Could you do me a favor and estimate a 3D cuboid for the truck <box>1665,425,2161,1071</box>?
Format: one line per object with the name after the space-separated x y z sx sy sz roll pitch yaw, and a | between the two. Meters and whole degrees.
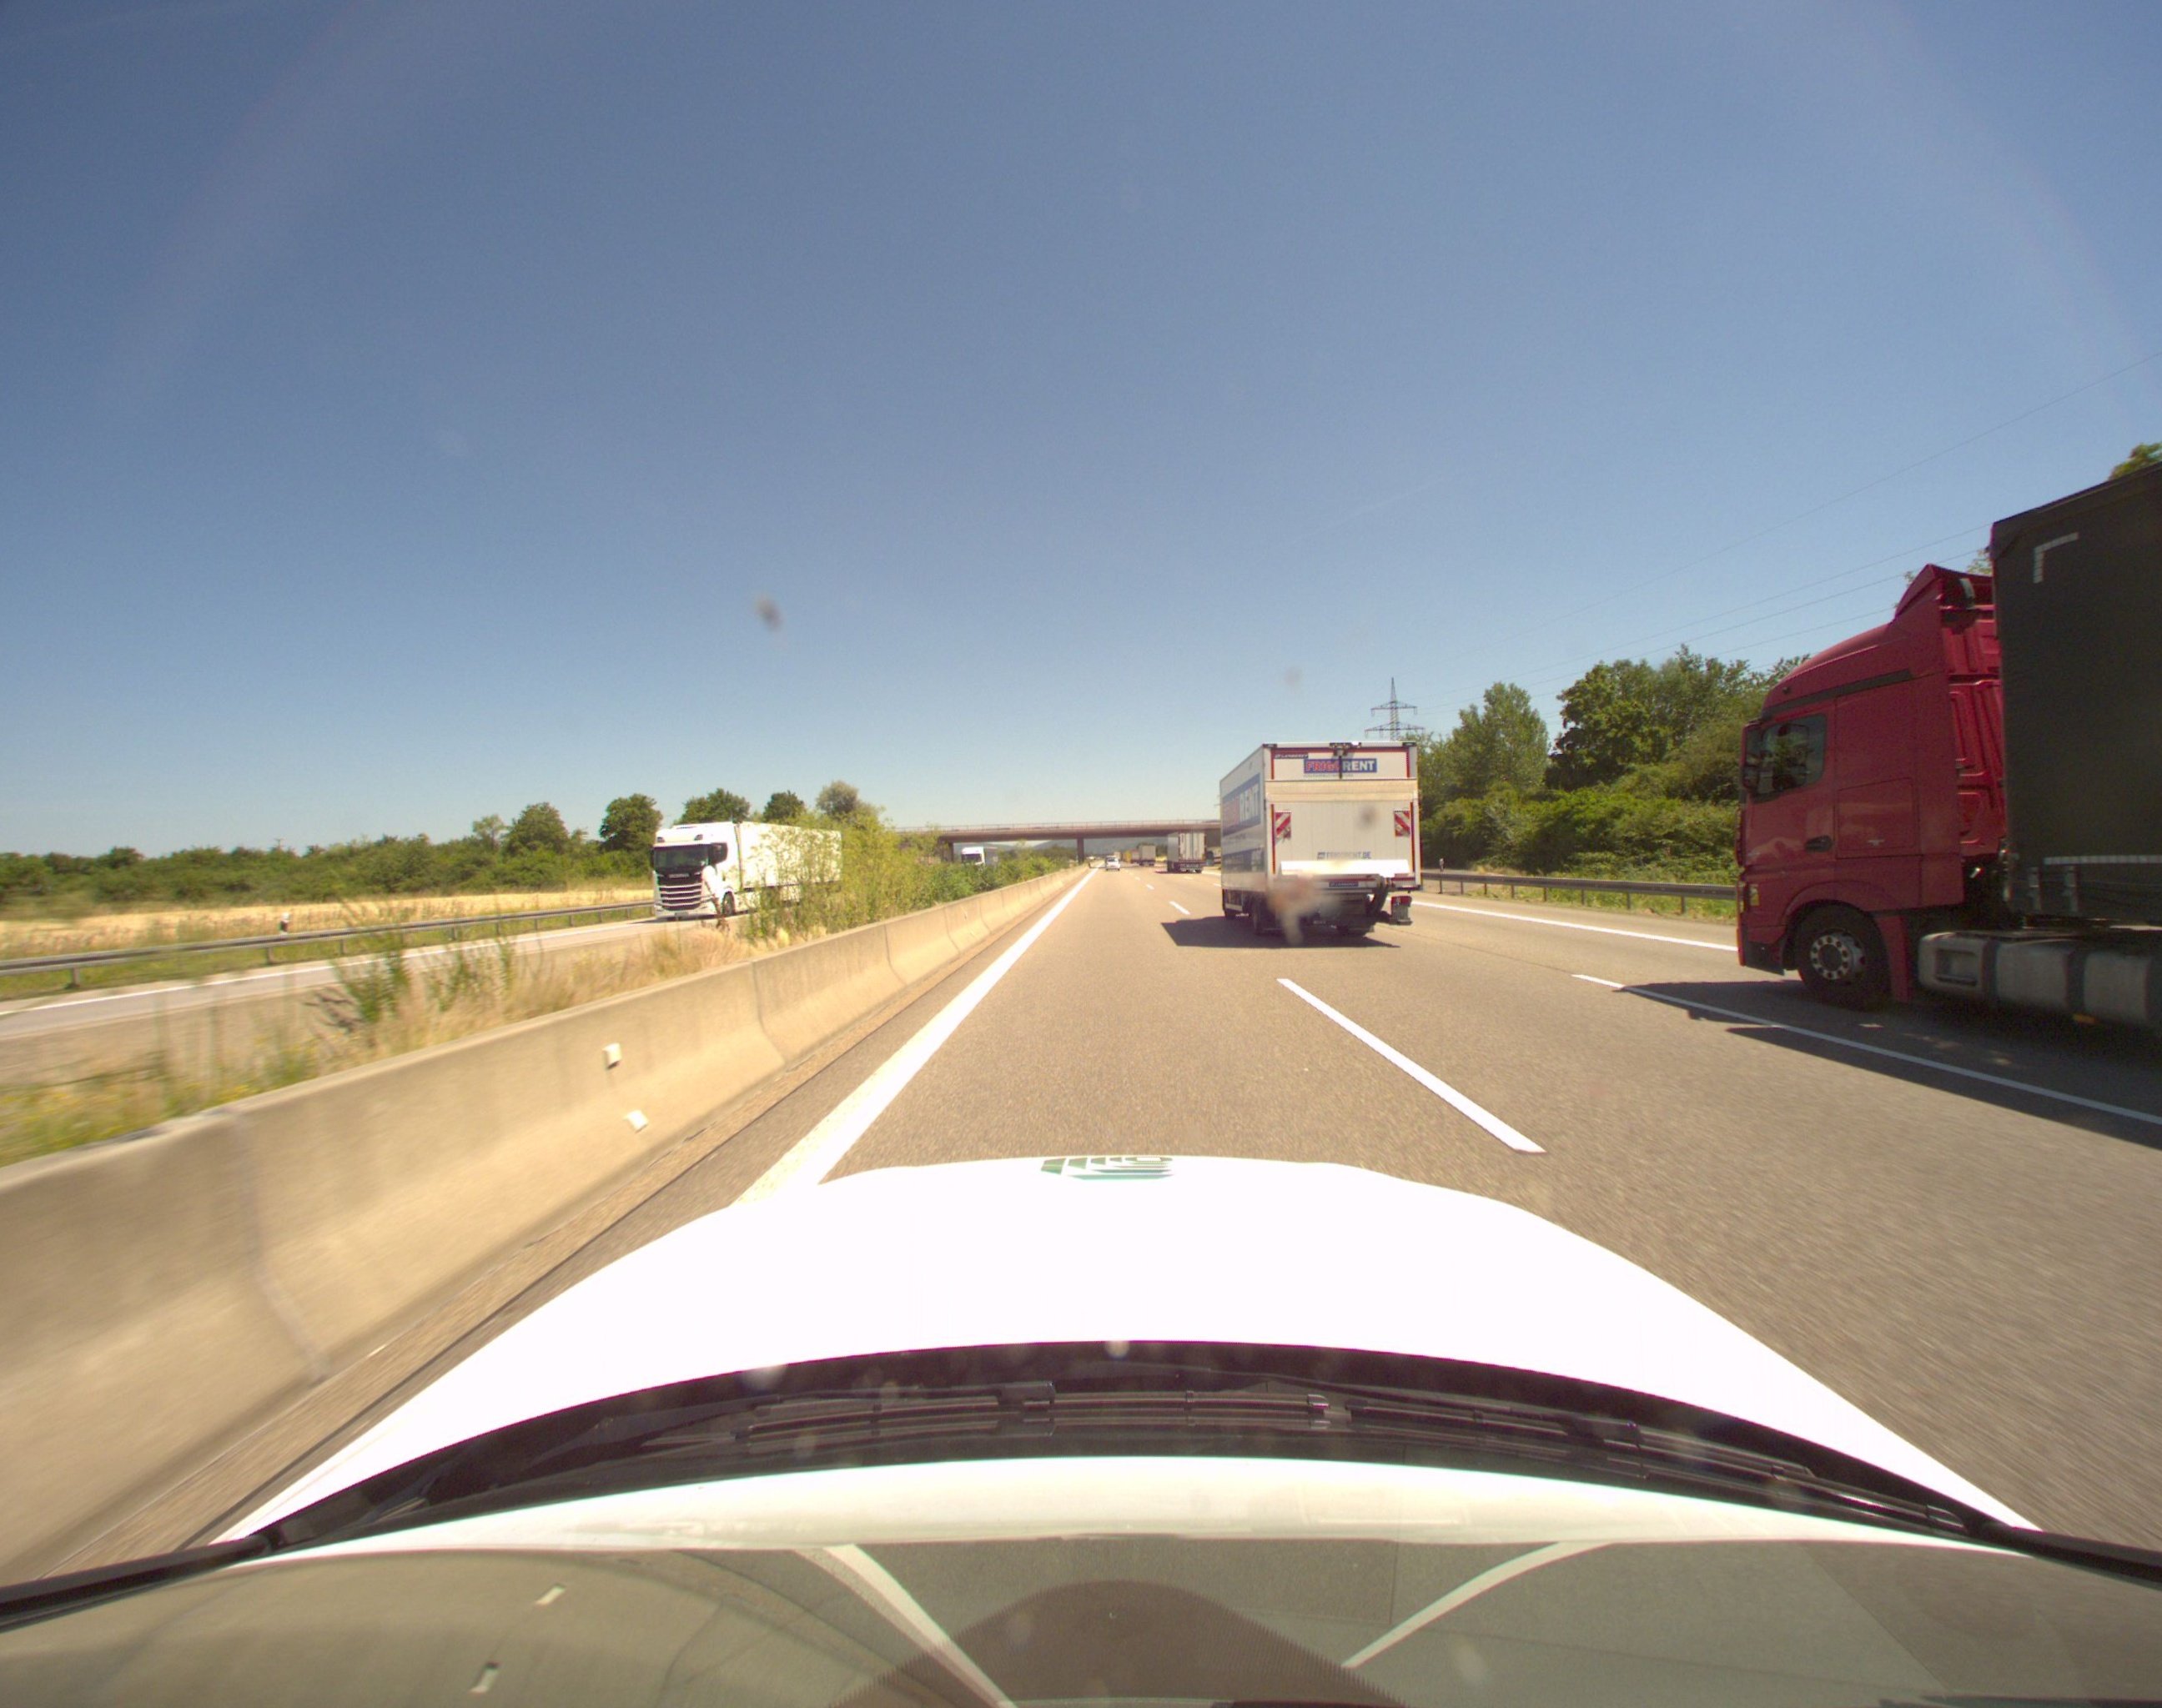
8.435 -0.693 7.024 2.784 4.164 5.725 -1 0 2 | truck

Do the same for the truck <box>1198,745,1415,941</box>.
4.504 -0.166 18.225 2.772 3.373 8.130 -1 0 2 | truck

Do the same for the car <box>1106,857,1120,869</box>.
3.923 1.079 99.939 1.601 1.467 4.003 -2 0 3 | car

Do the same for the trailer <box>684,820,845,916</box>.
-15.540 0.621 41.569 2.685 4.014 12.970 -3 0 1 | trailer

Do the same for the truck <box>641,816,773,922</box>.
-15.699 0.599 34.685 2.670 4.014 5.757 -3 0 1 | truck

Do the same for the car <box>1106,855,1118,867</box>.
4.977 1.182 130.981 1.753 1.850 4.003 -2 0 3 | car

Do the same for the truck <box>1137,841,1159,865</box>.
13.134 -0.195 161.063 3.507 4.416 14.597 -3 0 2 | truck

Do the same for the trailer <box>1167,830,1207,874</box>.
10.861 -0.148 84.587 2.784 4.164 13.963 -1 0 2 | trailer

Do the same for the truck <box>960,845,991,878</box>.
-13.359 0.969 103.268 2.824 3.938 5.826 -3 0 2 | truck

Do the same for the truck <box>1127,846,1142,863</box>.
14.973 0.270 229.523 3.507 4.416 14.597 -3 0 2 | truck

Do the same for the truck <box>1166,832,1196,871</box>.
11.132 -0.301 91.412 2.784 4.164 5.725 -1 0 2 | truck
